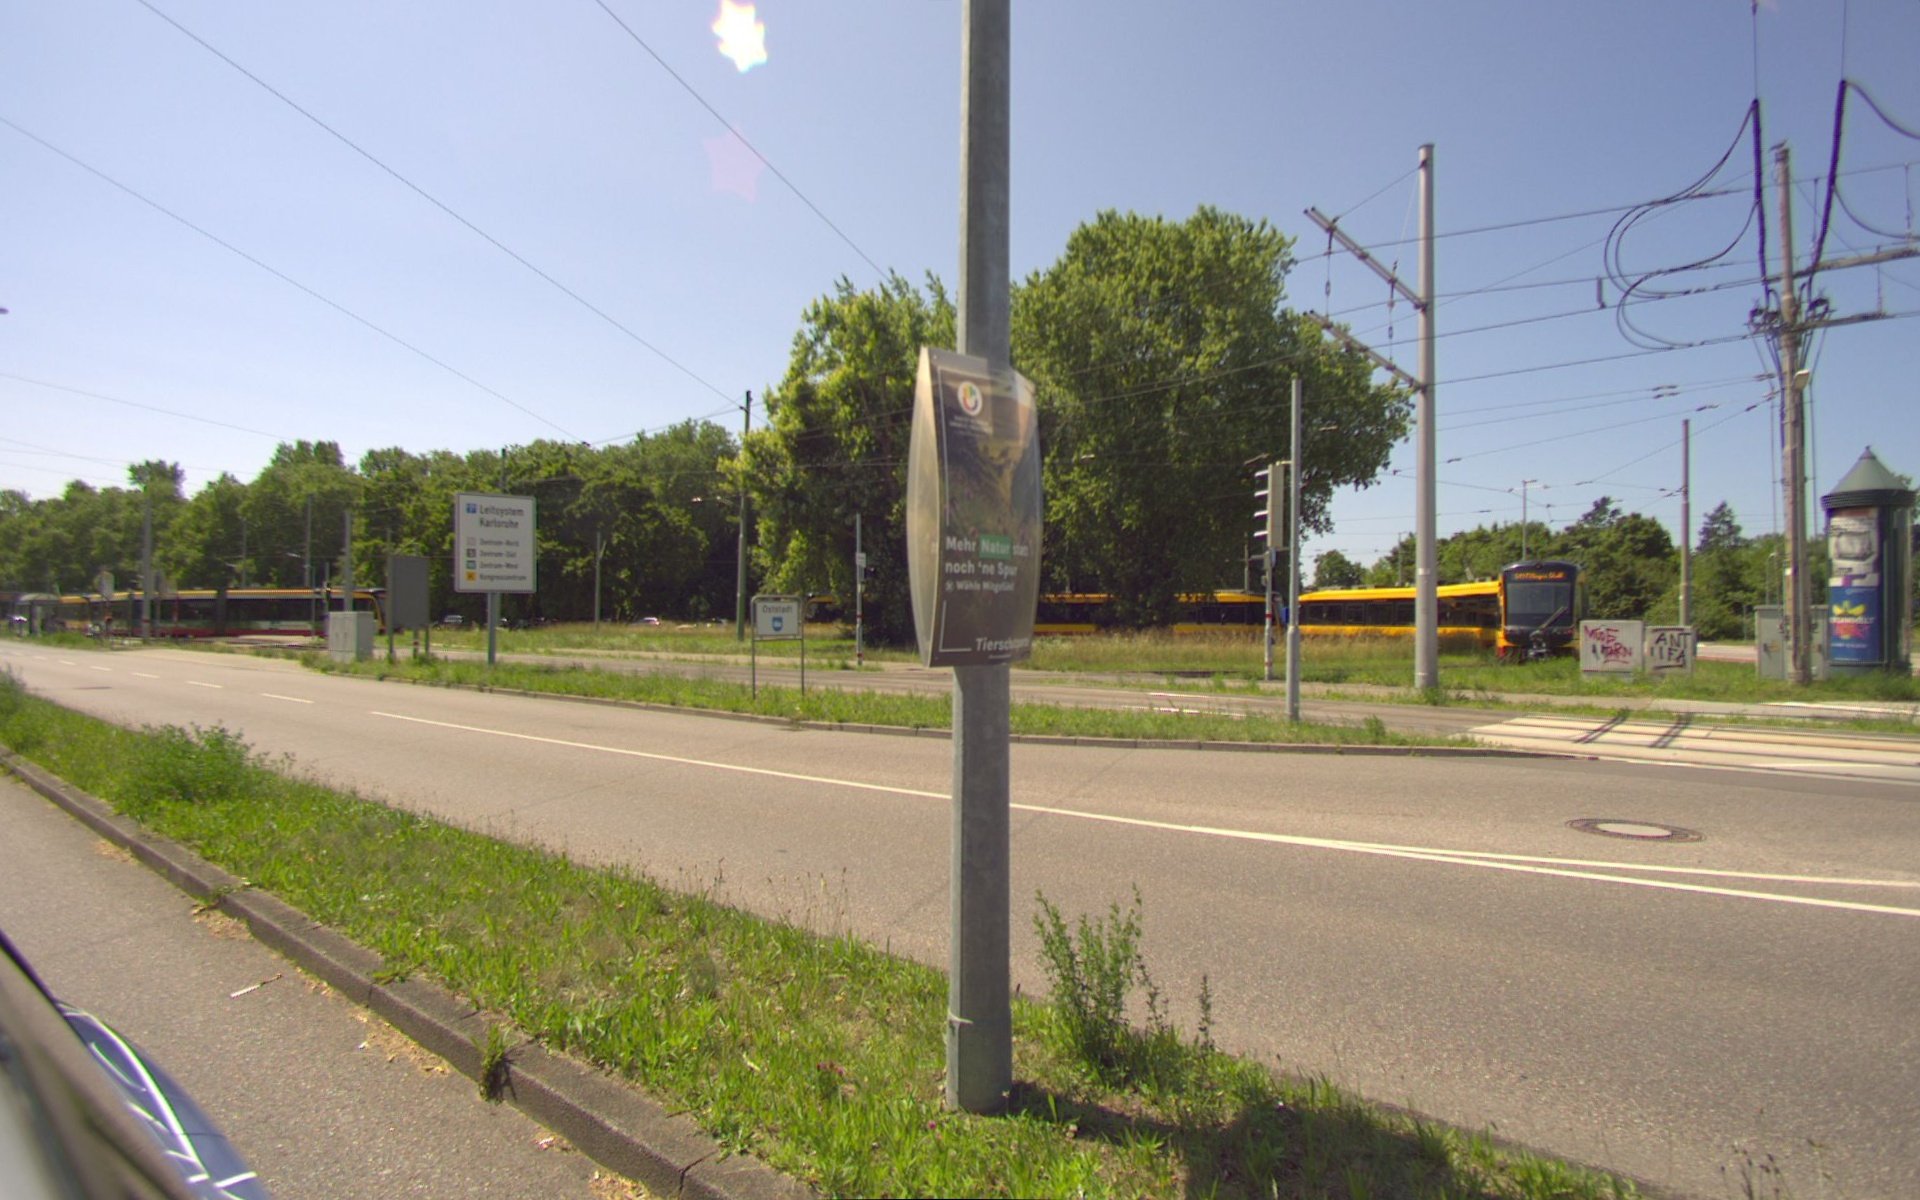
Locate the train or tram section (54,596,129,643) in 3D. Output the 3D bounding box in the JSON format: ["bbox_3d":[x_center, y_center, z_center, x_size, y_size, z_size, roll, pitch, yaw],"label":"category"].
[{"bbox_3d":[-75.932,1.688,88.312,13.253,3.795,3.012,-1,-1,41],"label":"train or tram section"}]

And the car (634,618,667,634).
[{"bbox_3d":[-31.347,2.645,102.478,3.057,1.608,1.376,-1,0,27],"label":"car"}]

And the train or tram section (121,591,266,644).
[{"bbox_3d":[-55.660,1.317,73.386,12.380,3.652,3.028,-1,0,25],"label":"train or tram section"}]

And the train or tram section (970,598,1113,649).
[{"bbox_3d":[6.005,1.722,74.528,10.127,3.492,3.032,-1,0,15],"label":"train or tram section"}]

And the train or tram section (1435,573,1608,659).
[{"bbox_3d":[25.358,0.679,46.508,3.008,3.492,10.206,-1,0,6],"label":"train or tram section"}]

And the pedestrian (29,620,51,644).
[{"bbox_3d":[-62.040,2.135,68.232,0.984,1.558,0.921,-1,-1,38],"label":"pedestrian"}]

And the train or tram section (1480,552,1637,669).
[{"bbox_3d":[21.768,0.291,36.245,3.043,3.492,13.120,-1,0,38],"label":"train or tram section"}]

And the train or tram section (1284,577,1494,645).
[{"bbox_3d":[24.157,0.633,58.307,2.993,3.492,12.792,-1,0,-21],"label":"train or tram section"}]

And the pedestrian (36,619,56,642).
[{"bbox_3d":[-61.167,2.057,67.727,0.878,1.519,0.826,-1,-1,38],"label":"pedestrian"}]

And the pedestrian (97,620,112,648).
[{"bbox_3d":[-48.821,1.931,57.756,0.582,1.577,0.529,-1,-1,39],"label":"pedestrian"}]

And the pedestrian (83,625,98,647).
[{"bbox_3d":[-49.932,2.069,58.123,0.535,1.198,0.575,-1,-1,37],"label":"pedestrian"}]

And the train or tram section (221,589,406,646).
[{"bbox_3d":[-44.550,1.193,69.721,12.326,3.652,3.041,-1,0,13],"label":"train or tram section"}]

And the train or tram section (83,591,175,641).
[{"bbox_3d":[-65.530,1.271,79.591,13.884,3.652,3.013,-1,-1,40],"label":"train or tram section"}]

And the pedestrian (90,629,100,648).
[{"bbox_3d":[-49.452,2.179,57.866,0.377,1.066,0.379,-1,-1,38],"label":"pedestrian"}]

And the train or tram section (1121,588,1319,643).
[{"bbox_3d":[17.604,1.107,69.159,12.691,3.492,3.017,-1,0,28],"label":"train or tram section"}]

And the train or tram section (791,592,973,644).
[{"bbox_3d":[-5.590,1.316,74.438,13.084,3.492,3.045,-1,0,1],"label":"train or tram section"}]

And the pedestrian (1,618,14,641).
[{"bbox_3d":[-75.983,2.381,80.732,0.775,1.804,0.626,-1,-1,39],"label":"pedestrian"}]
